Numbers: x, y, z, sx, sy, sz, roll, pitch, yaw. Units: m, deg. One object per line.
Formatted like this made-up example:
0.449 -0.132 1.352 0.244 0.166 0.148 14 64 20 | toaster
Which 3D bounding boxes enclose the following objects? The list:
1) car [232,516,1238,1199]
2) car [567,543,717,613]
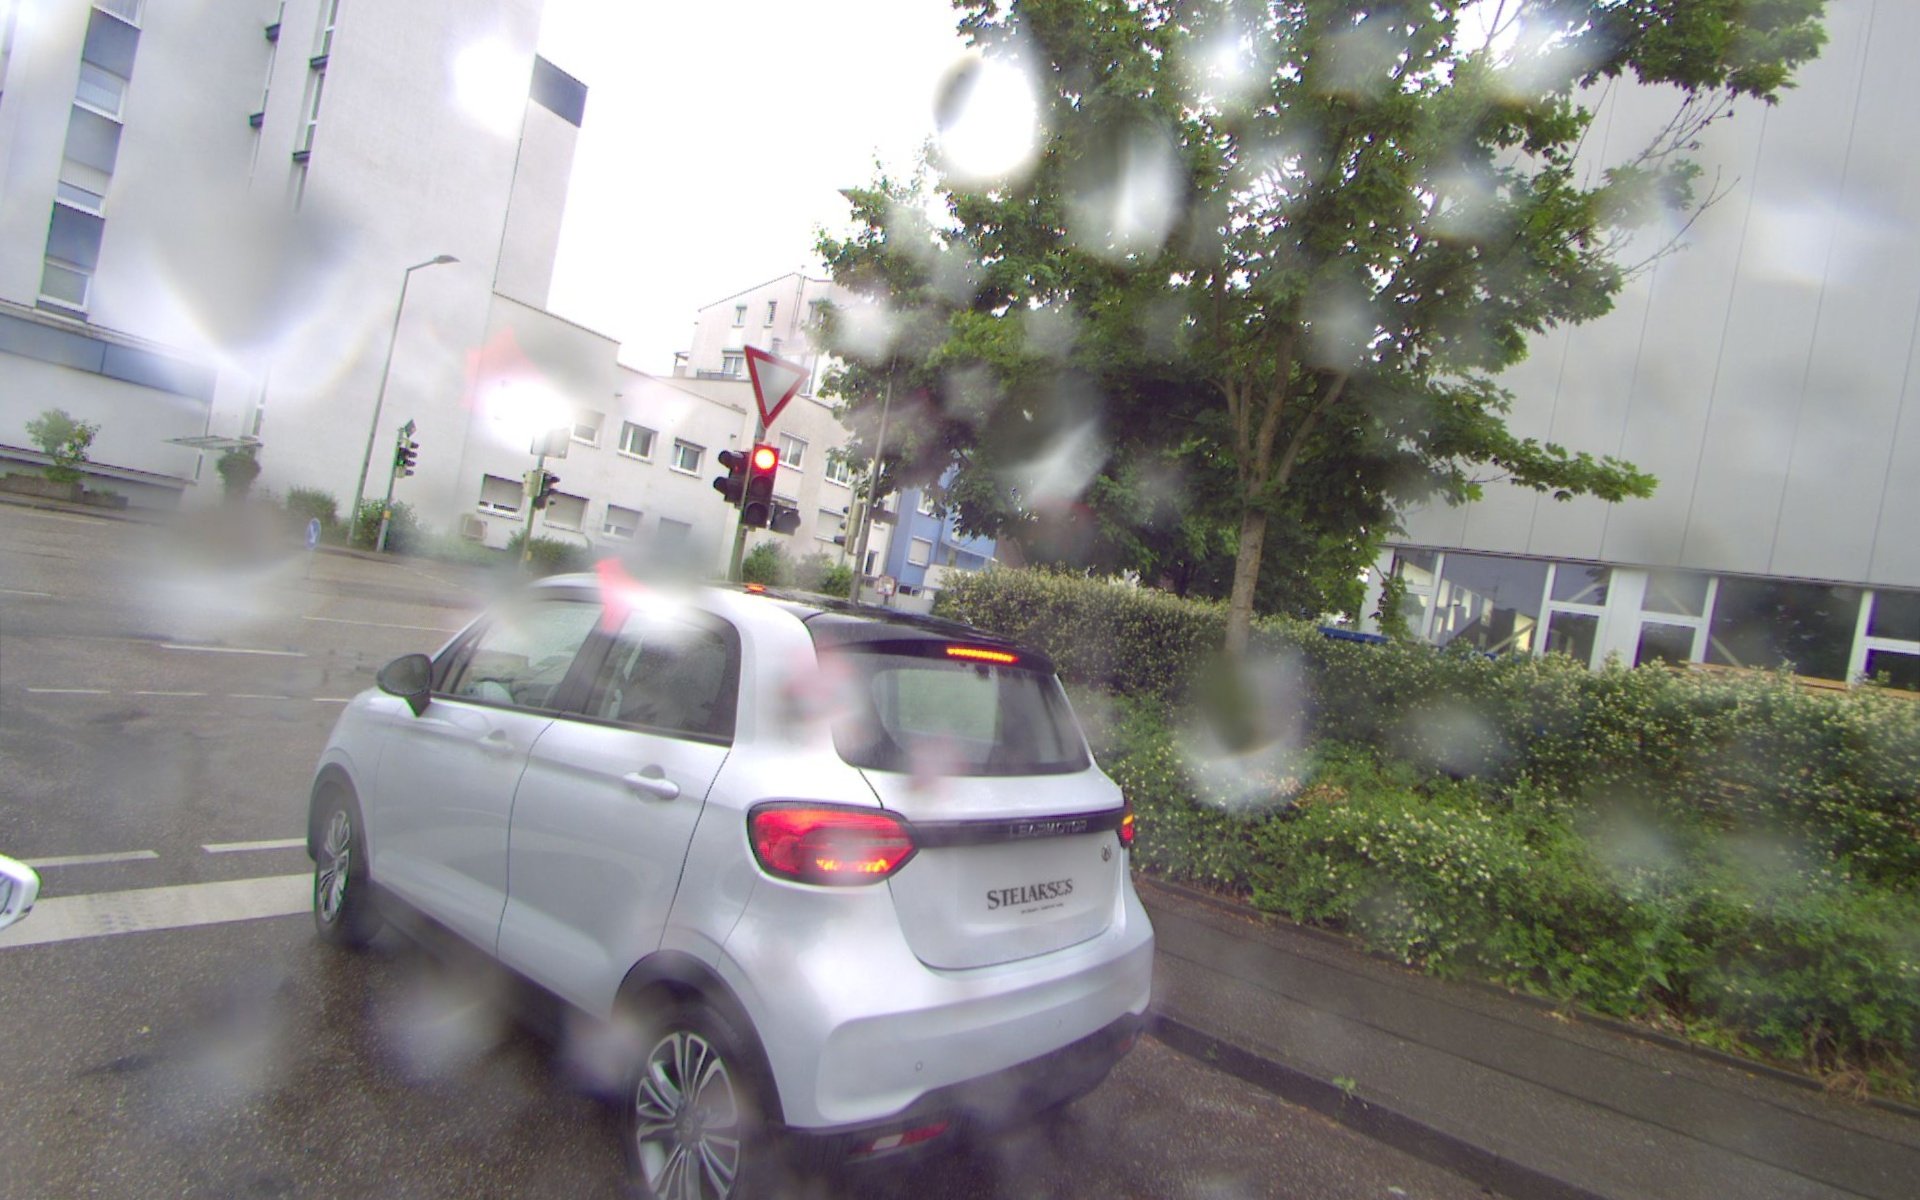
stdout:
-1.182 0.709 3.902 3.850 1.573 1.688 8 0 41 | car
-10.103 -0.673 32.186 1.717 1.504 4.134 12 1 40 | car
